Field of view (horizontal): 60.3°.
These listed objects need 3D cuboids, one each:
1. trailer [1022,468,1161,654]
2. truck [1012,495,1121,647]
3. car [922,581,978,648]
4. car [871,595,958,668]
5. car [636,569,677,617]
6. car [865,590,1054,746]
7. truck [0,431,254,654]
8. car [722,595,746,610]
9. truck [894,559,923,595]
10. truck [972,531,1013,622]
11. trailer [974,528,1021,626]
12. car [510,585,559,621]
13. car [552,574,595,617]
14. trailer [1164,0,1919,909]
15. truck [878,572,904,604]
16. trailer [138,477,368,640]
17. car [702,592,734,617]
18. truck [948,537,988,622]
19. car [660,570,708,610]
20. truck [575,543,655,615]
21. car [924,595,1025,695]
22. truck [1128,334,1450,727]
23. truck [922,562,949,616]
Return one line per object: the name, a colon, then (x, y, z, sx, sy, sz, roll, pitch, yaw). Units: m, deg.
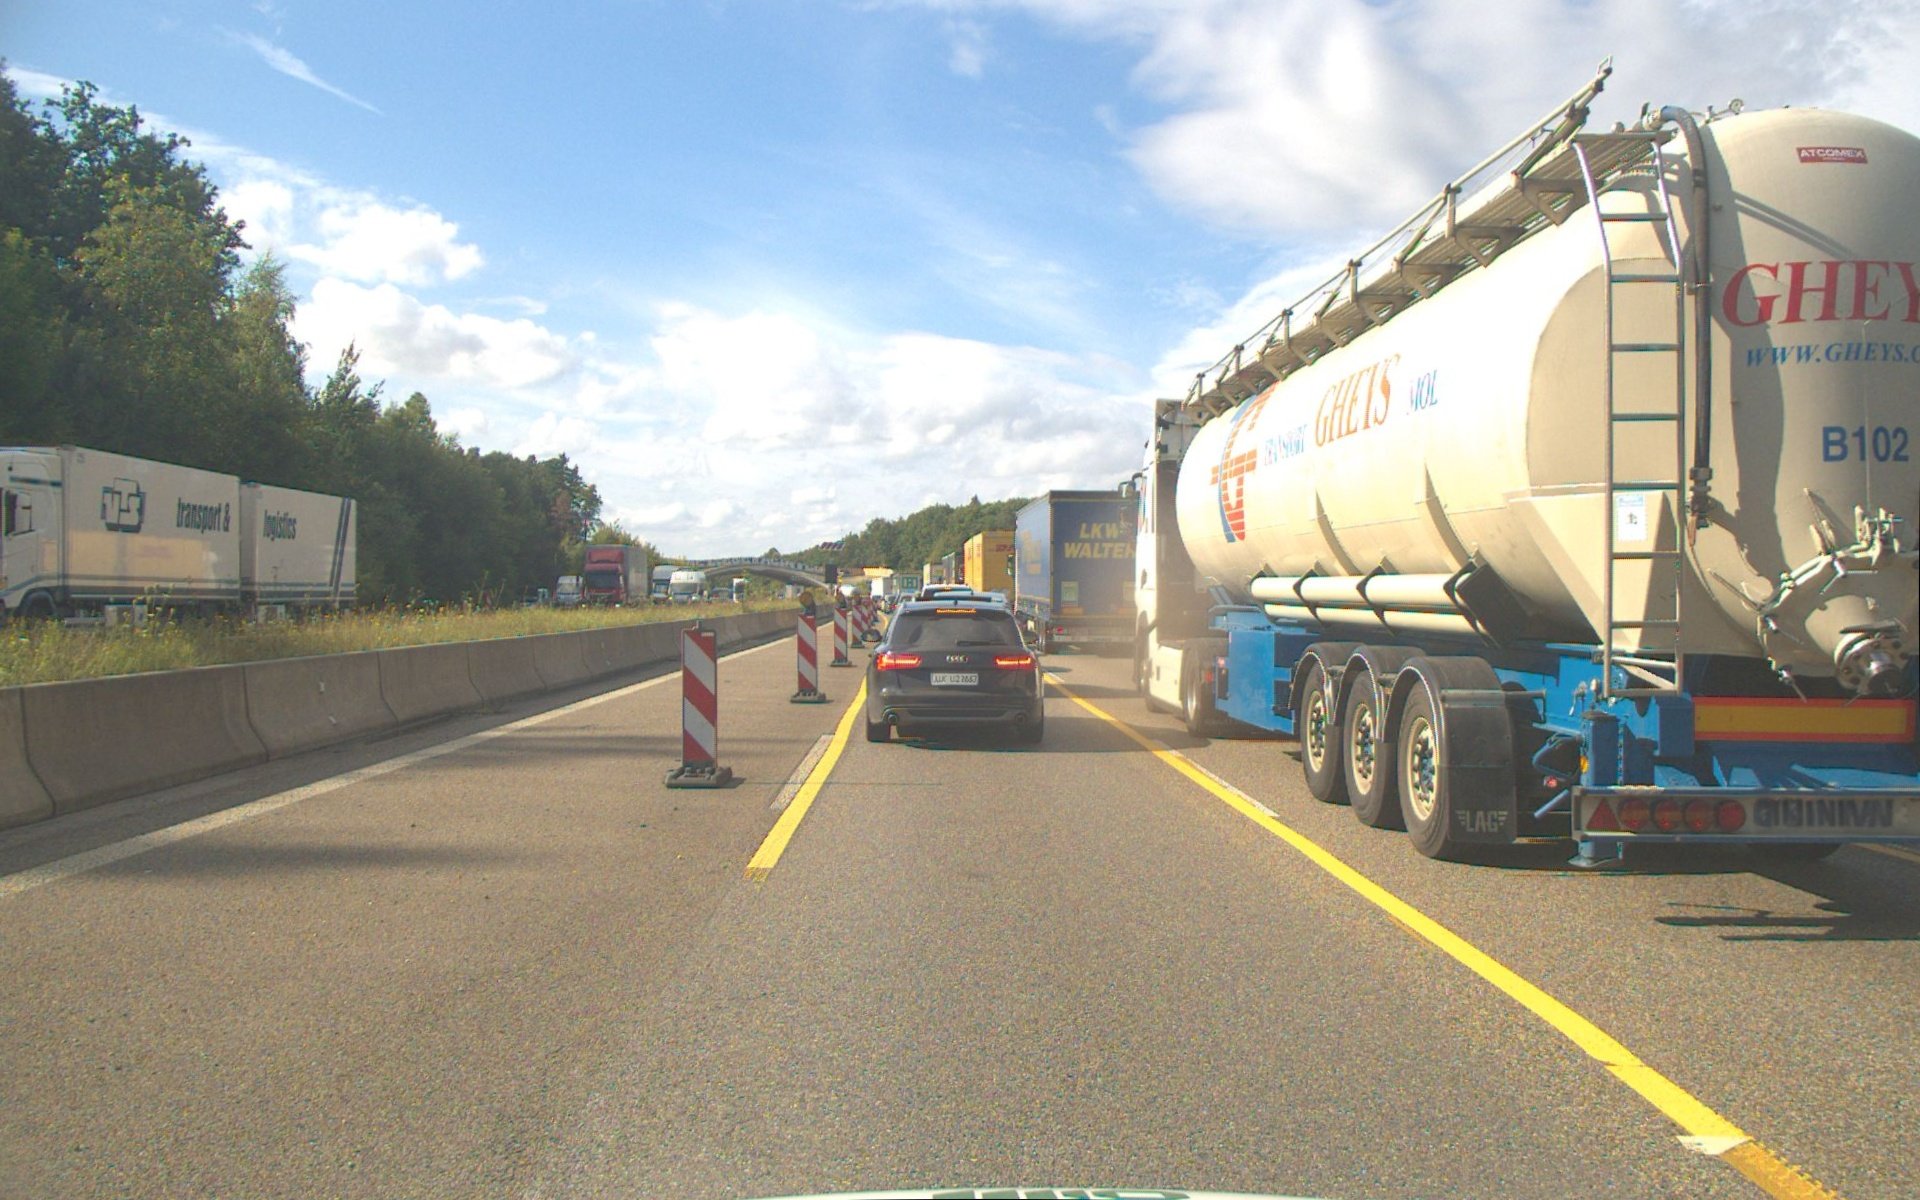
trailer: (3.400, -0.924, 45.495, 2.748, 4.490, 10.430, 1, 0, -1)
truck: (3.265, -0.844, 52.697, 2.749, 4.446, 7.789, 1, 0, -1)
car: (-0.313, 0.427, 48.858, 1.549, 1.869, 3.111, 1, 0, -1)
car: (-0.947, 0.644, 34.855, 1.716, 1.421, 3.607, 1, 0, -1)
car: (-22.863, -0.511, 124.858, 2.439, 3.429, 7.442, 1, 0, -6)
car: (-0.039, 0.669, 17.957, 1.811, 1.489, 3.999, 0, 0, -1)
truck: (-18.805, -1.041, 35.550, 2.726, 4.055, 10.859, 1, 0, -1)
car: (-22.184, 0.213, 162.283, 1.743, 1.411, 4.309, 1, 0, -1)
truck: (-6.230, -2.719, 199.182, 3.238, 4.248, 9.696, 0, 0, -3)
truck: (1.428, -1.005, 74.517, 1.577, 3.965, 4.070, 1, 0, -2)
trailer: (1.553, -0.917, 70.775, 1.584, 3.987, 6.486, 1, 0, -2)
car: (-25.322, 0.181, 98.529, 1.953, 2.049, 3.999, 1, 0, -1)
car: (-25.298, -0.293, 108.393, 2.208, 2.689, 5.010, 1, 0, -8)
trailer: (3.859, -0.700, 13.331, 2.590, 4.012, 12.594, 1, 0, -1)
truck: (-9.628, -1.627, 229.330, 3.239, 4.248, 9.694, 1, 0, -4)
trailer: (-19.051, -1.008, 45.261, 2.734, 3.992, 8.486, 1, 0, -1)
car: (-18.900, 0.363, 129.331, 1.905, 1.844, 4.118, 1, 0, -1)
truck: (0.446, -1.228, 103.198, 1.953, 5.000, 9.557, 1, 0, -2)
car: (-17.958, -0.657, 107.773, 2.116, 2.494, 6.330, 1, 0, -1)
truck: (-20.466, -1.204, 98.726, 2.744, 4.062, 10.183, 1, 0, -1)
car: (0.189, 0.681, 26.360, 1.493, 1.464, 3.284, 1, 0, -1)
truck: (3.716, -0.704, 20.073, 2.605, 4.041, 5.777, 1, 0, -1)
truck: (-2.071, -0.864, 136.115, 2.094, 4.332, 7.069, 1, 0, -1)
